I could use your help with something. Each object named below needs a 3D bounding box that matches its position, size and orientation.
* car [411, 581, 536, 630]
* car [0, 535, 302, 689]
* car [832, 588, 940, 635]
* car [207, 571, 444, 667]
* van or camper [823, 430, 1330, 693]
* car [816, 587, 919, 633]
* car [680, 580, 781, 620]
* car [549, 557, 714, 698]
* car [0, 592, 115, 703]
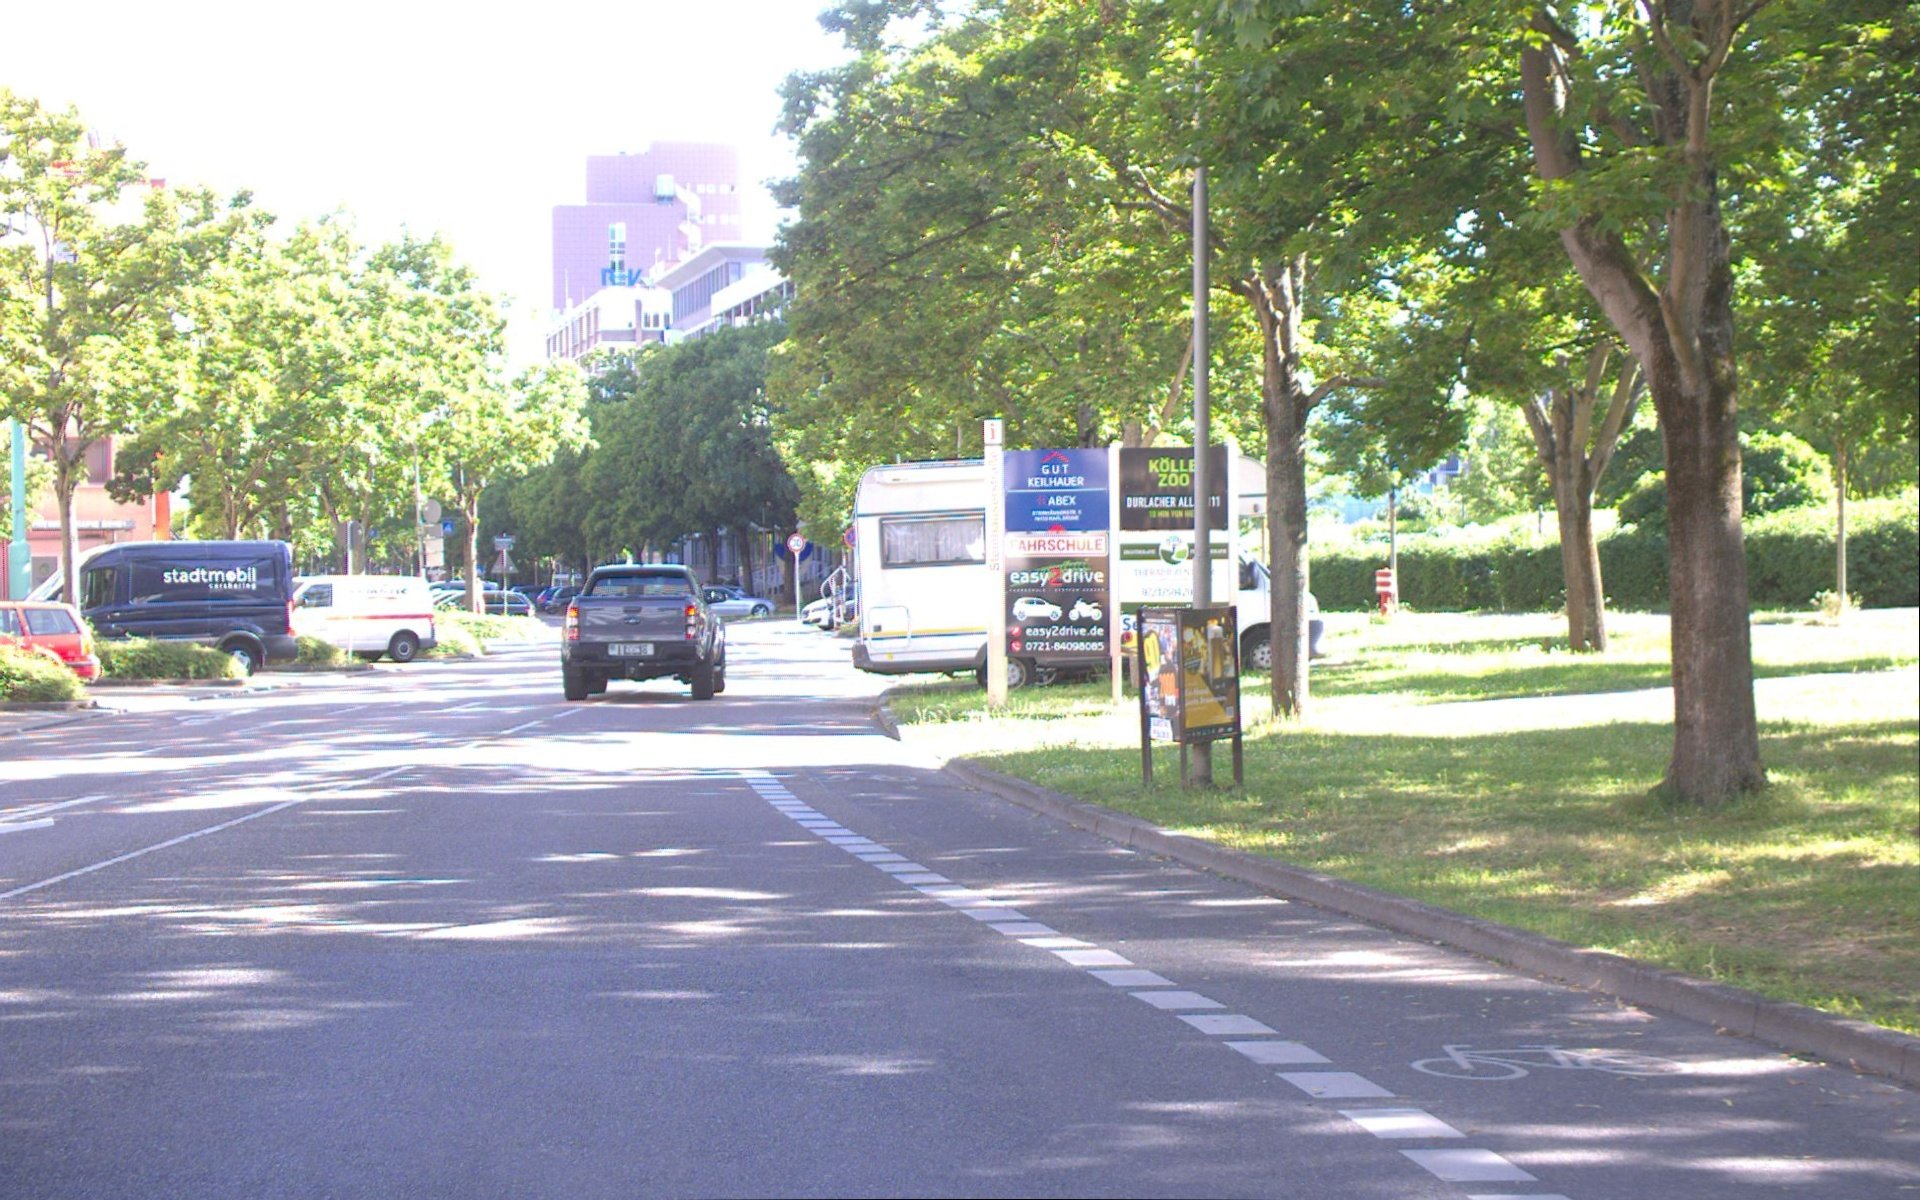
[{"bbox_3d":[-15.660,0.184,110.531,3.882,1.361,1.410,-3,0,-10],"label":"car"},{"bbox_3d":[-14.395,0.188,60.222,5.260,2.537,1.986,-1,0,-26],"label":"car"},{"bbox_3d":[-2.298,0.349,106.456,3.243,1.273,1.516,-3,0,-2],"label":"car"},{"bbox_3d":[-14.448,0.416,78.383,4.884,2.076,1.985,-1,0,-35],"label":"car"},{"bbox_3d":[1.398,-0.481,43.390,6.078,2.918,2.575,-3,0,-2],"label":"van or camper"},{"bbox_3d":[-2.978,0.318,110.642,3.243,1.273,1.516,-3,0,-2],"label":"car"},{"bbox_3d":[-9.395,-0.004,140.798,3.946,1.392,1.517,-3,0,-10],"label":"car"},{"bbox_3d":[-4.524,0.326,47.598,2.132,1.829,4.941,-1,1,-5],"label":"car"},{"bbox_3d":[-14.600,0.709,49.515,4.406,1.547,1.922,-1,0,-25],"label":"car"}]
